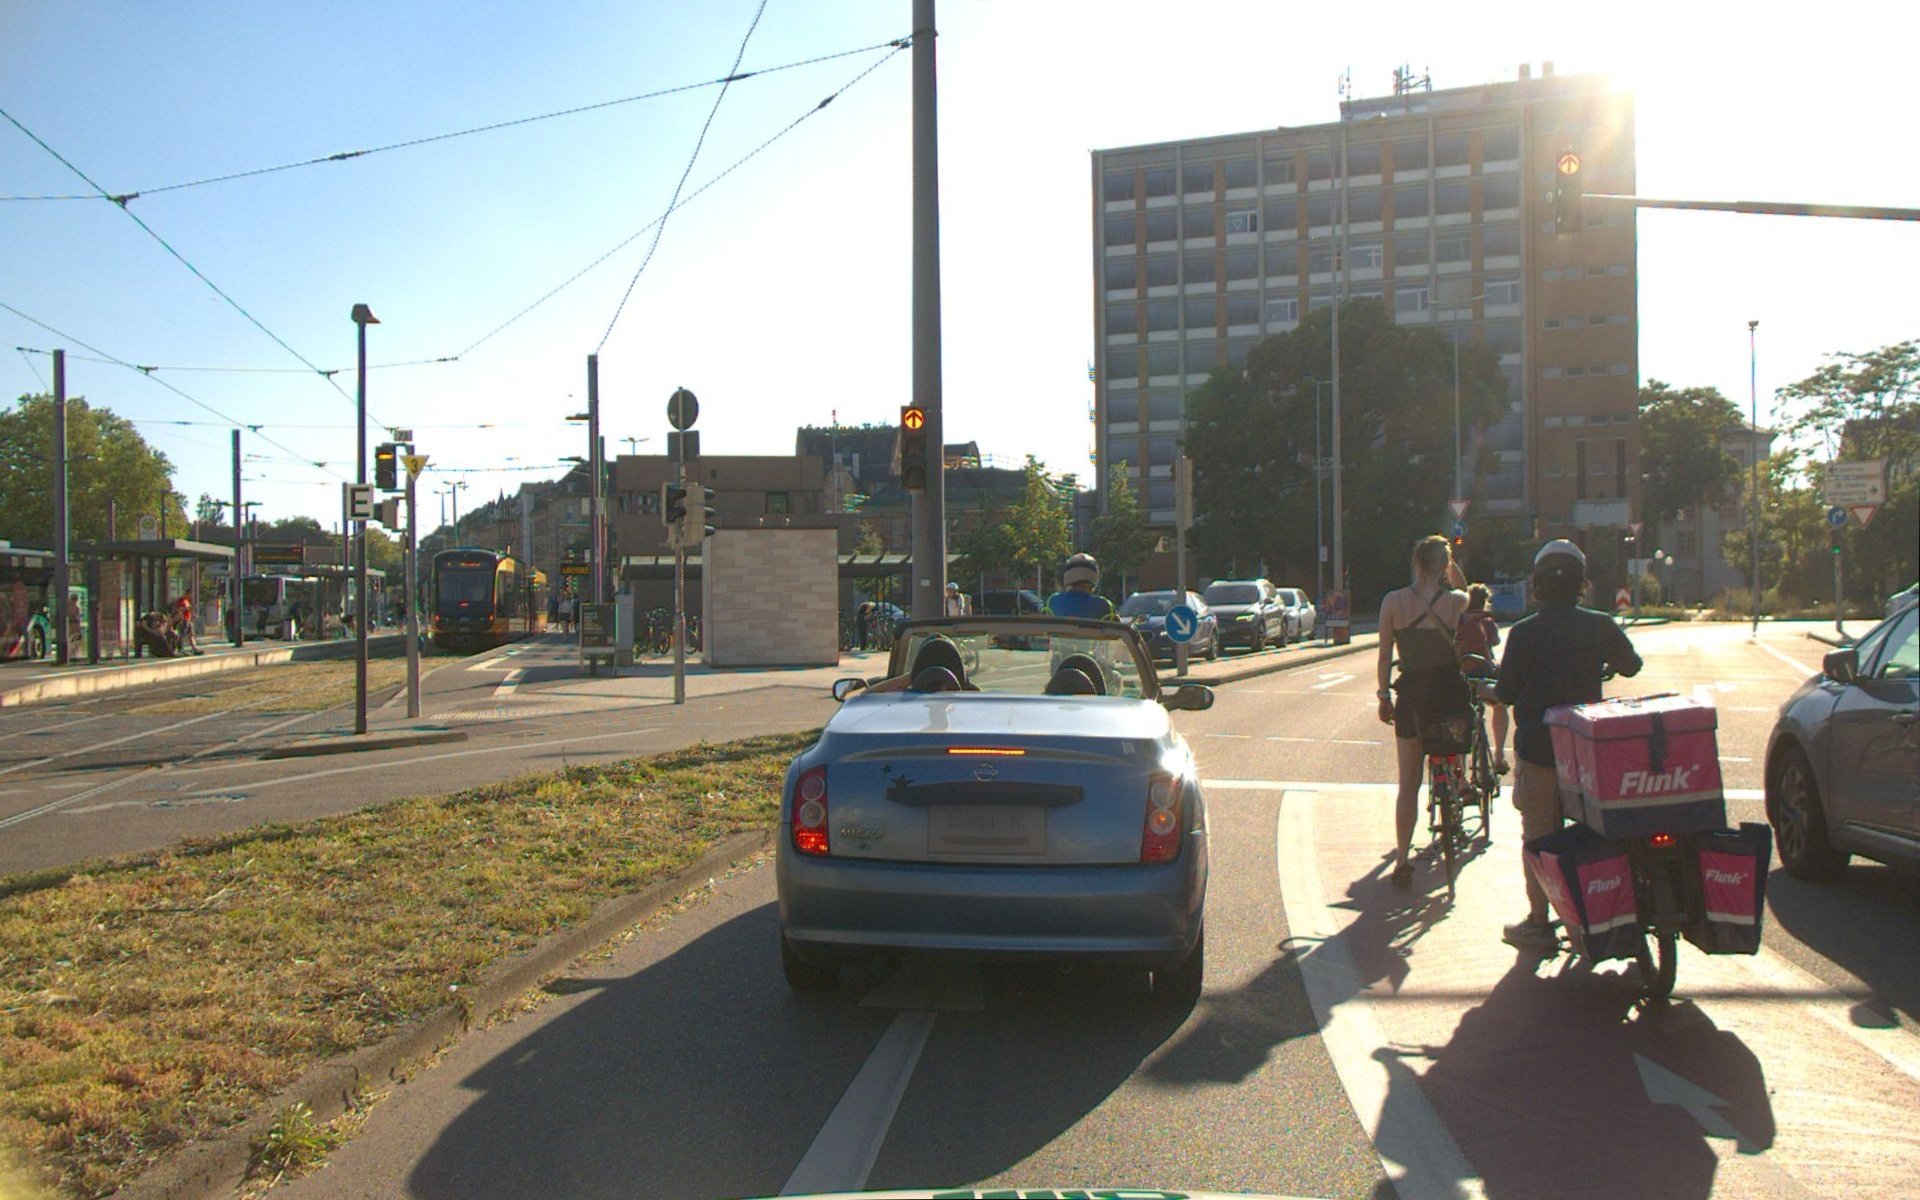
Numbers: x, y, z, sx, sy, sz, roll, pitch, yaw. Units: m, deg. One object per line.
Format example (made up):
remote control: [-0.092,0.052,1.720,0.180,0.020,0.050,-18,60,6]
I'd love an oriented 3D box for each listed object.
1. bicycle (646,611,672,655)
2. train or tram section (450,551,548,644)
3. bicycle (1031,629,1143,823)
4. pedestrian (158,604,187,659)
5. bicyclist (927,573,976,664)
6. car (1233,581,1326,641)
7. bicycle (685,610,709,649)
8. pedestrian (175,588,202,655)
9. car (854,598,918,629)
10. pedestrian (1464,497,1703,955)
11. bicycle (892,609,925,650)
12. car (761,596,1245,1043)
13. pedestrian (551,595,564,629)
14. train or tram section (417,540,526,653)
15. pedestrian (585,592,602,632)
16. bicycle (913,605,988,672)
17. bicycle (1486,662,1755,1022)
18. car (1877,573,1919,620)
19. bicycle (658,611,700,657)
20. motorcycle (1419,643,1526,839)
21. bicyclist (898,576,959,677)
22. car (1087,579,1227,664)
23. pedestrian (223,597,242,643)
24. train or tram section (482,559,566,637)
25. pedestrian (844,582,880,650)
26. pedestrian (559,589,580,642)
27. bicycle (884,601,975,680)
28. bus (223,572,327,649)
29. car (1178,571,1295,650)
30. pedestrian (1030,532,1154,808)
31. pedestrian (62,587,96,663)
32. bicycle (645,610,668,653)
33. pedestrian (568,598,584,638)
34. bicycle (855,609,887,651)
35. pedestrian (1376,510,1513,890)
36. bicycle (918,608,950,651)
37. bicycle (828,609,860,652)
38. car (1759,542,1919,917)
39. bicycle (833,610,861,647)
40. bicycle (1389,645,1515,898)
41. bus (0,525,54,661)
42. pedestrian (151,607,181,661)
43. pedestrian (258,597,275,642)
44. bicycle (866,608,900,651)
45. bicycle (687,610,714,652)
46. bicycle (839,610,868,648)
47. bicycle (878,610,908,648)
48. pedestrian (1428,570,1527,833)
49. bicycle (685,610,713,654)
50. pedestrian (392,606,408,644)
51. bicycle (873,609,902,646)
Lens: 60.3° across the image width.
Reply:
bicycle: [-7.992,0.861,43.929,0.596,1.134,1.890,1,0,-13]
train or tram section: [-19.980,-0.081,72.361,2.957,3.659,12.169,1,0,-10]
bicycle: [0.952,0.831,11.897,0.595,1.212,2.416,1,0,9]
pedestrian: [-20.252,0.804,42.548,0.561,1.369,0.637,-1,0,-17]
bicyclist: [-0.156,0.349,31.474,0.694,1.686,0.743,-1,0,21]
car: [9.012,0.283,46.457,1.661,1.588,3.977,-1,0,25]
bicycle: [-7.979,0.895,50.198,0.596,1.134,1.890,1,0,-13]
pedestrian: [-20.707,0.583,44.406,0.561,1.779,0.637,-1,0,-17]
car: [-3.984,0.743,88.610,1.629,1.588,3.549,-1,0,-39]
pedestrian: [2.762,0.523,7.425,0.789,1.901,0.957,1,-1,8]
bicycle: [-1.496,0.832,47.542,0.596,1.134,1.890,1,0,-13]
car: [0.354,0.747,7.680,1.625,1.466,4.157,1,0,6]
pedestrian: [-21.789,0.651,89.578,0.593,1.779,0.830,-1,0,-8]
train or tram section: [-17.646,-0.104,60.407,2.831,3.659,12.161,1,0,-12]
pedestrian: [-16.606,0.534,74.934,0.628,1.779,0.732,-1,0,-19]
bicycle: [-0.156,0.712,31.446,0.660,1.201,2.183,-1,0,21]
bicycle: [2.728,0.901,7.073,0.542,1.192,2.374,1,0,9]
car: [41.783,-0.174,70.542,4.604,1.979,1.911,-1,0,31]
bicycle: [-7.184,0.858,42.337,0.594,1.134,1.898,1,0,5]
motorcycle: [3.419,0.874,11.112,0.600,1.117,2.361,1,0,16]
bicyclist: [-0.543,0.457,28.760,0.694,1.686,0.901,-3,-1,21]
car: [4.072,0.426,33.683,1.702,1.601,3.921,1,0,25]
pedestrian: [-28.940,0.790,65.778,0.630,1.779,0.567,-1,0,-27]
train or tram section: [-22.045,-0.067,84.256,2.984,3.659,12.024,1,0,-10]
pedestrian: [-2.764,0.447,46.684,0.885,1.901,0.685,1,-1,-13]
pedestrian: [-13.384,0.536,56.652,0.628,1.779,0.569,-1,0,-19]
bicycle: [-0.505,0.677,28.828,0.660,1.272,2.457,-3,-1,21]
bus: [-32.734,0.469,79.553,2.675,3.331,13.413,1,0,-14]
car: [6.721,0.228,39.832,1.726,1.736,4.529,-2,-1,23]
pedestrian: [0.968,0.486,11.966,0.815,1.901,0.921,1,-1,8]
pedestrian: [-21.041,0.591,39.518,0.527,1.779,0.559,-1,0,-6]
bicycle: [-8.424,0.862,45.848,0.596,1.134,1.891,1,0,-11]
pedestrian: [-17.224,0.792,74.197,0.628,1.779,0.732,-1,0,-19]
bicycle: [-2.559,0.845,47.138,0.596,1.134,1.890,1,0,-13]
pedestrian: [2.559,0.500,8.809,0.645,1.901,0.873,1,-1,14]
bicycle: [-0.731,0.809,45.537,0.595,1.134,1.892,1,0,-10]
bicycle: [-3.162,0.826,45.056,0.596,1.134,1.890,1,0,-13]
car: [5.285,0.607,7.398,1.792,1.719,4.372,1,0,8]
bicycle: [-3.623,0.900,52.961,0.596,1.134,1.890,1,0,-13]
bicycle: [2.638,0.853,8.998,0.552,1.171,1.951,1,0,14]
bus: [-23.561,-0.177,37.170,2.606,3.190,9.619,1,0,-10]
pedestrian: [-20.094,0.858,41.867,0.606,1.364,0.438,-1,0,-18]
pedestrian: [-27.687,0.776,66.029,0.562,1.779,0.636,-1,0,-20]
bicycle: [-2.110,0.784,45.214,0.596,1.134,1.890,1,0,-13]
bicycle: [-7.279,0.863,46.334,0.596,1.134,1.890,1,0,-13]
bicycle: [-3.293,0.884,50.999,0.596,1.134,1.890,1,0,-13]
bicycle: [-2.088,0.887,51.220,0.596,1.134,1.890,1,0,-13]
pedestrian: [3.381,0.631,10.850,0.575,1.626,1.025,1,-1,16]
bicycle: [-6.989,0.846,44.275,0.596,1.134,1.890,1,0,-13]
pedestrian: [-27.028,1.209,79.825,0.630,1.779,0.567,-1,0,-27]
bicycle: [-2.338,0.868,53.188,0.596,1.134,1.890,1,0,-13]
